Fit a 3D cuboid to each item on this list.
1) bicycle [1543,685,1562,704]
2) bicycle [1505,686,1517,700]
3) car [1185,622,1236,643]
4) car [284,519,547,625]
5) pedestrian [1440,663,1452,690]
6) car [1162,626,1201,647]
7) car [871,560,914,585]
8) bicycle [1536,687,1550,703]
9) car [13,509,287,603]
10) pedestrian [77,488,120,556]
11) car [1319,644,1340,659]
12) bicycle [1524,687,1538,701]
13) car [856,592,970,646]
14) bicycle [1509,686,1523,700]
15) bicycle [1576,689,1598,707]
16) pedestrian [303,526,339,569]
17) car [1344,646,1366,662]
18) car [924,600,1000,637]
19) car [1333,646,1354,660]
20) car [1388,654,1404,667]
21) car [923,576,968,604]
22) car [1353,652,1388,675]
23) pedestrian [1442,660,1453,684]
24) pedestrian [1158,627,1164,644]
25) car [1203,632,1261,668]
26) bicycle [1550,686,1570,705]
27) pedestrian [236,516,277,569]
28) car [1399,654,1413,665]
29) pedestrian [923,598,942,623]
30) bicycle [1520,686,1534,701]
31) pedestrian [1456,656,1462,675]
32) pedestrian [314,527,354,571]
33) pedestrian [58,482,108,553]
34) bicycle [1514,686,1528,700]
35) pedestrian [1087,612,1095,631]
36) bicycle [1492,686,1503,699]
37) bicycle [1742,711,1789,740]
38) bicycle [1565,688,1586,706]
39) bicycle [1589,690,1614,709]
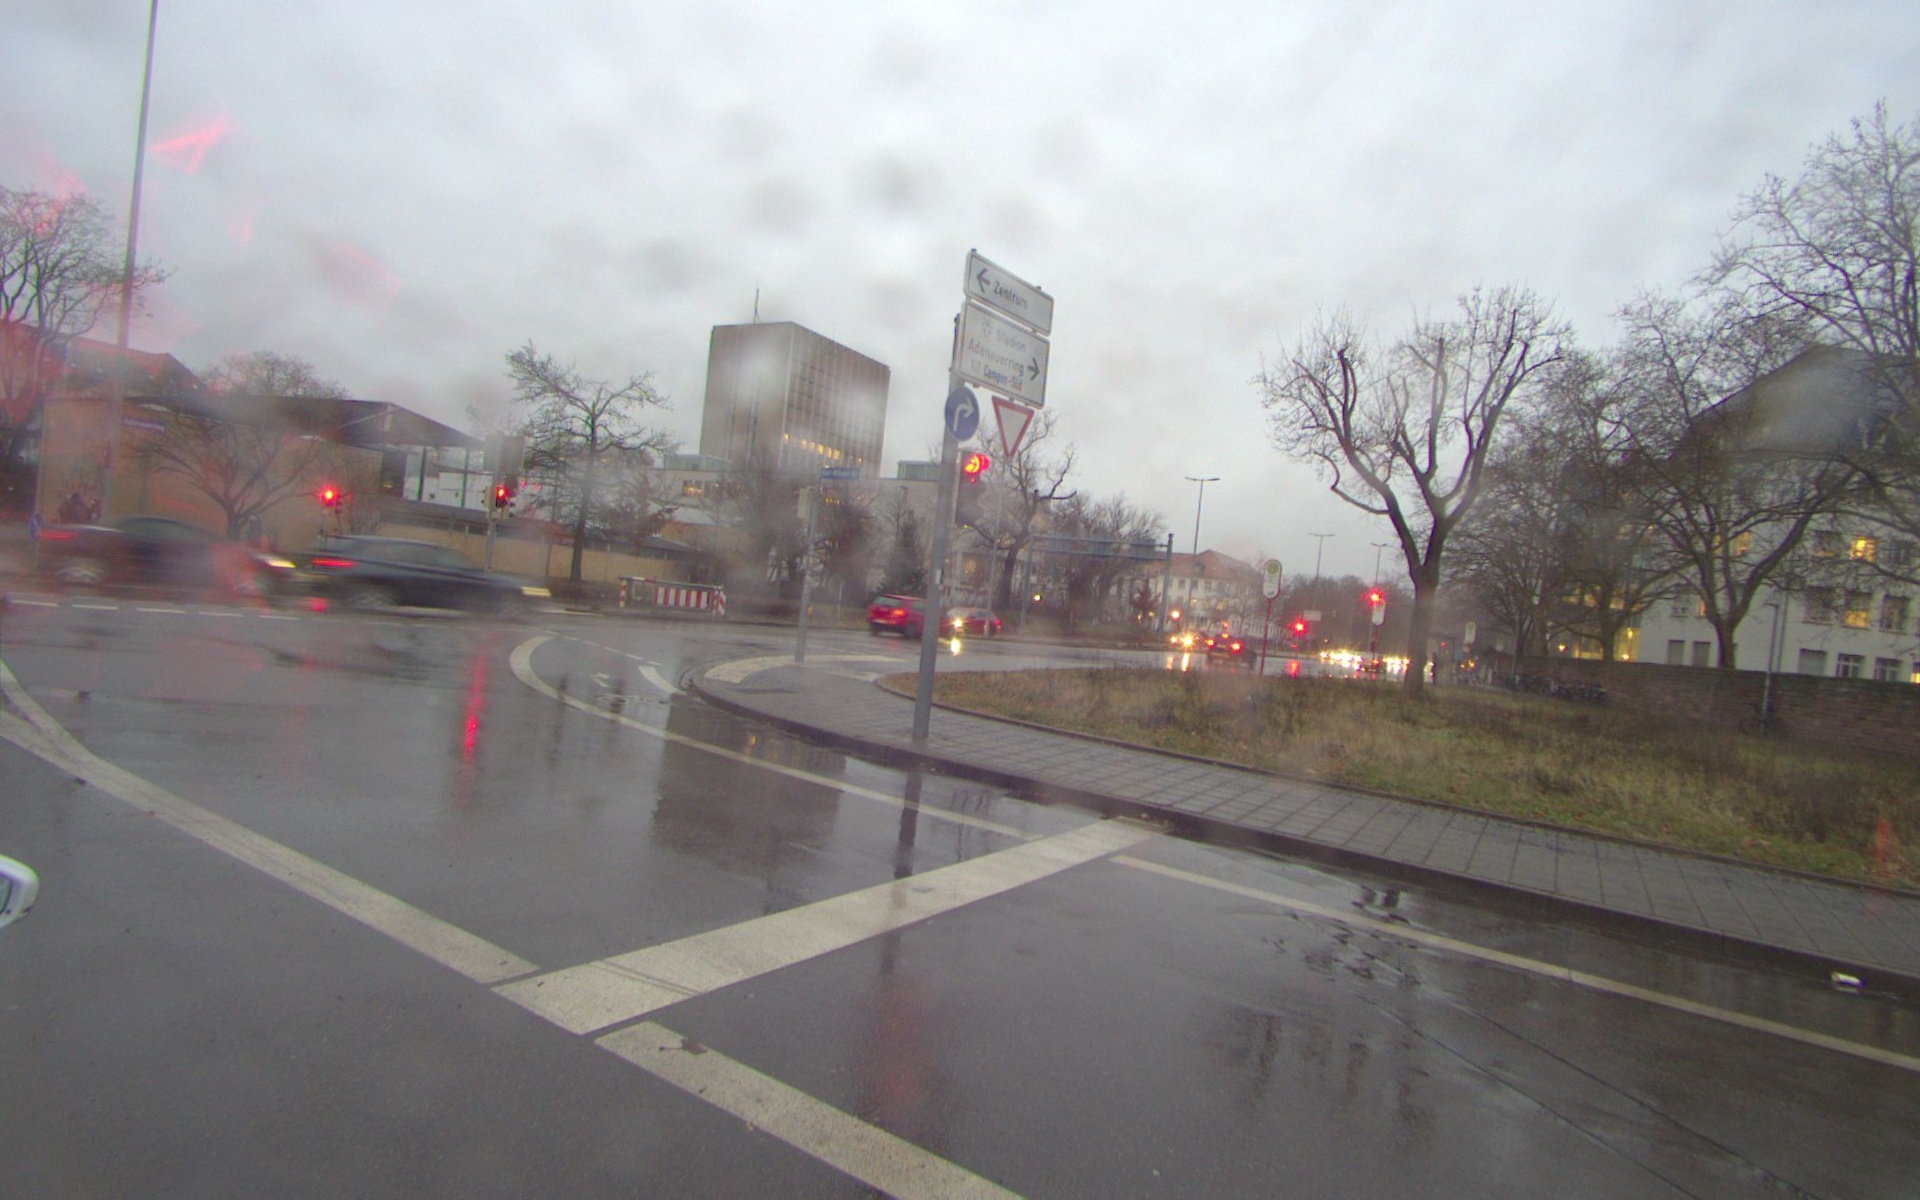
[{"bbox_3d":[31.839,5.073,54.090,0.387,0.927,1.532,7,-2,15],"label":"bicycle"},{"bbox_3d":[34.848,5.864,63.629,0.387,0.795,1.532,7,-2,20],"label":"bicycle"},{"bbox_3d":[28.822,3.705,115.770,5.266,1.903,2.037,6,0,43],"label":"car"},{"bbox_3d":[-10.592,-0.496,19.793,1.816,1.602,4.116,6,0,41],"label":"car"},{"bbox_3d":[30.149,4.732,62.421,0.462,1.623,0.486,7,-1,25],"label":"pedestrian"},{"bbox_3d":[18.944,3.108,85.835,1.782,1.496,4.416,6,0,32],"label":"car"},{"bbox_3d":[-7.132,-2.914,106.417,2.014,2.102,4.892,6,0,30],"label":"car"},{"bbox_3d":[32.410,5.289,55.956,0.387,0.795,1.607,7,-2,22],"label":"bicycle"},{"bbox_3d":[-15.207,-0.799,19.023,1.677,1.318,3.749,6,0,41],"label":"car"},{"bbox_3d":[-28.920,-2.605,33.764,0.874,2.141,0.890,8,2,44],"label":"pedestrian"},{"bbox_3d":[49.284,6.858,134.151,1.966,1.783,3.992,7,1,29],"label":"car"},{"bbox_3d":[32.838,5.403,57.869,0.387,0.795,1.532,7,-2,19],"label":"bicycle"},{"bbox_3d":[-1.647,0.724,36.458,1.813,1.602,4.121,6,0,37],"label":"car"},{"bbox_3d":[34.347,5.740,62.155,0.387,0.795,1.532,7,-2,20],"label":"bicycle"},{"bbox_3d":[30.546,4.768,49.003,0.387,0.795,1.533,7,-2,14],"label":"bicycle"},{"bbox_3d":[-25.006,-2.047,39.378,0.873,1.553,0.891,8,2,40],"label":"pedestrian"},{"bbox_3d":[51.642,7.065,131.495,1.966,1.783,3.992,7,1,29],"label":"car"},{"bbox_3d":[0.168,0.950,49.597,1.780,1.496,4.420,6,0,28],"label":"car"},{"bbox_3d":[53.425,7.389,140.178,1.966,1.783,3.992,7,1,29],"label":"car"},{"bbox_3d":[71.976,9.999,166.178,1.965,1.783,3.993,7,1,27],"label":"car"},{"bbox_3d":[-1.436,-0.995,103.276,2.014,2.452,5.326,6,0,30],"label":"car"},{"bbox_3d":[34.320,5.291,84.104,1.811,1.710,4.311,6,0,32],"label":"car"},{"bbox_3d":[42.703,6.280,88.155,0.557,2.040,0.595,8,2,33],"label":"pedestrian"},{"bbox_3d":[21.575,3.785,107.926,0.410,1.725,0.432,7,2,25],"label":"pedestrian"},{"bbox_3d":[15.218,2.832,56.177,1.811,1.710,4.314,6,-1,32],"label":"car"},{"bbox_3d":[31.354,4.978,52.559,0.387,0.868,1.532,7,-2,15],"label":"bicycle"},{"bbox_3d":[-26.226,-2.155,37.510,0.907,1.823,0.994,8,2,44],"label":"pedestrian"},{"bbox_3d":[82.639,11.020,186.347,1.834,1.783,3.993,7,1,27],"label":"car"},{"bbox_3d":[-1.933,0.720,70.710,0.783,1.624,0.960,8,2,39],"label":"pedestrian"},{"bbox_3d":[33.321,5.485,59.148,0.387,0.795,1.532,7,-2,20],"label":"bicycle"},{"bbox_3d":[49.595,6.494,99.985,0.313,1.816,0.461,7,2,32],"label":"pedestrian"},{"bbox_3d":[-24.141,-1.962,38.774,1.027,1.553,0.923,8,2,40],"label":"pedestrian"},{"bbox_3d":[-28.562,-2.677,32.772,0.871,2.141,0.893,7,2,32],"label":"pedestrian"},{"bbox_3d":[33.827,5.612,60.666,0.387,0.795,1.532,7,-2,20],"label":"bicycle"},{"bbox_3d":[11.999,1.990,92.165,0.411,1.725,0.430,8,3,44],"label":"pedestrian"},{"bbox_3d":[36.388,6.245,68.110,0.387,0.795,1.532,7,-2,20],"label":"bicycle"},{"bbox_3d":[28.200,4.399,35.228,0.387,0.834,1.386,7,-2,-4],"label":"bicycle"},{"bbox_3d":[31.036,4.875,50.747,0.343,0.848,1.493,7,-2,13],"label":"bicycle"},{"bbox_3d":[30.272,4.671,47.479,0.352,0.795,1.415,7,-2,8],"label":"bicycle"}]
